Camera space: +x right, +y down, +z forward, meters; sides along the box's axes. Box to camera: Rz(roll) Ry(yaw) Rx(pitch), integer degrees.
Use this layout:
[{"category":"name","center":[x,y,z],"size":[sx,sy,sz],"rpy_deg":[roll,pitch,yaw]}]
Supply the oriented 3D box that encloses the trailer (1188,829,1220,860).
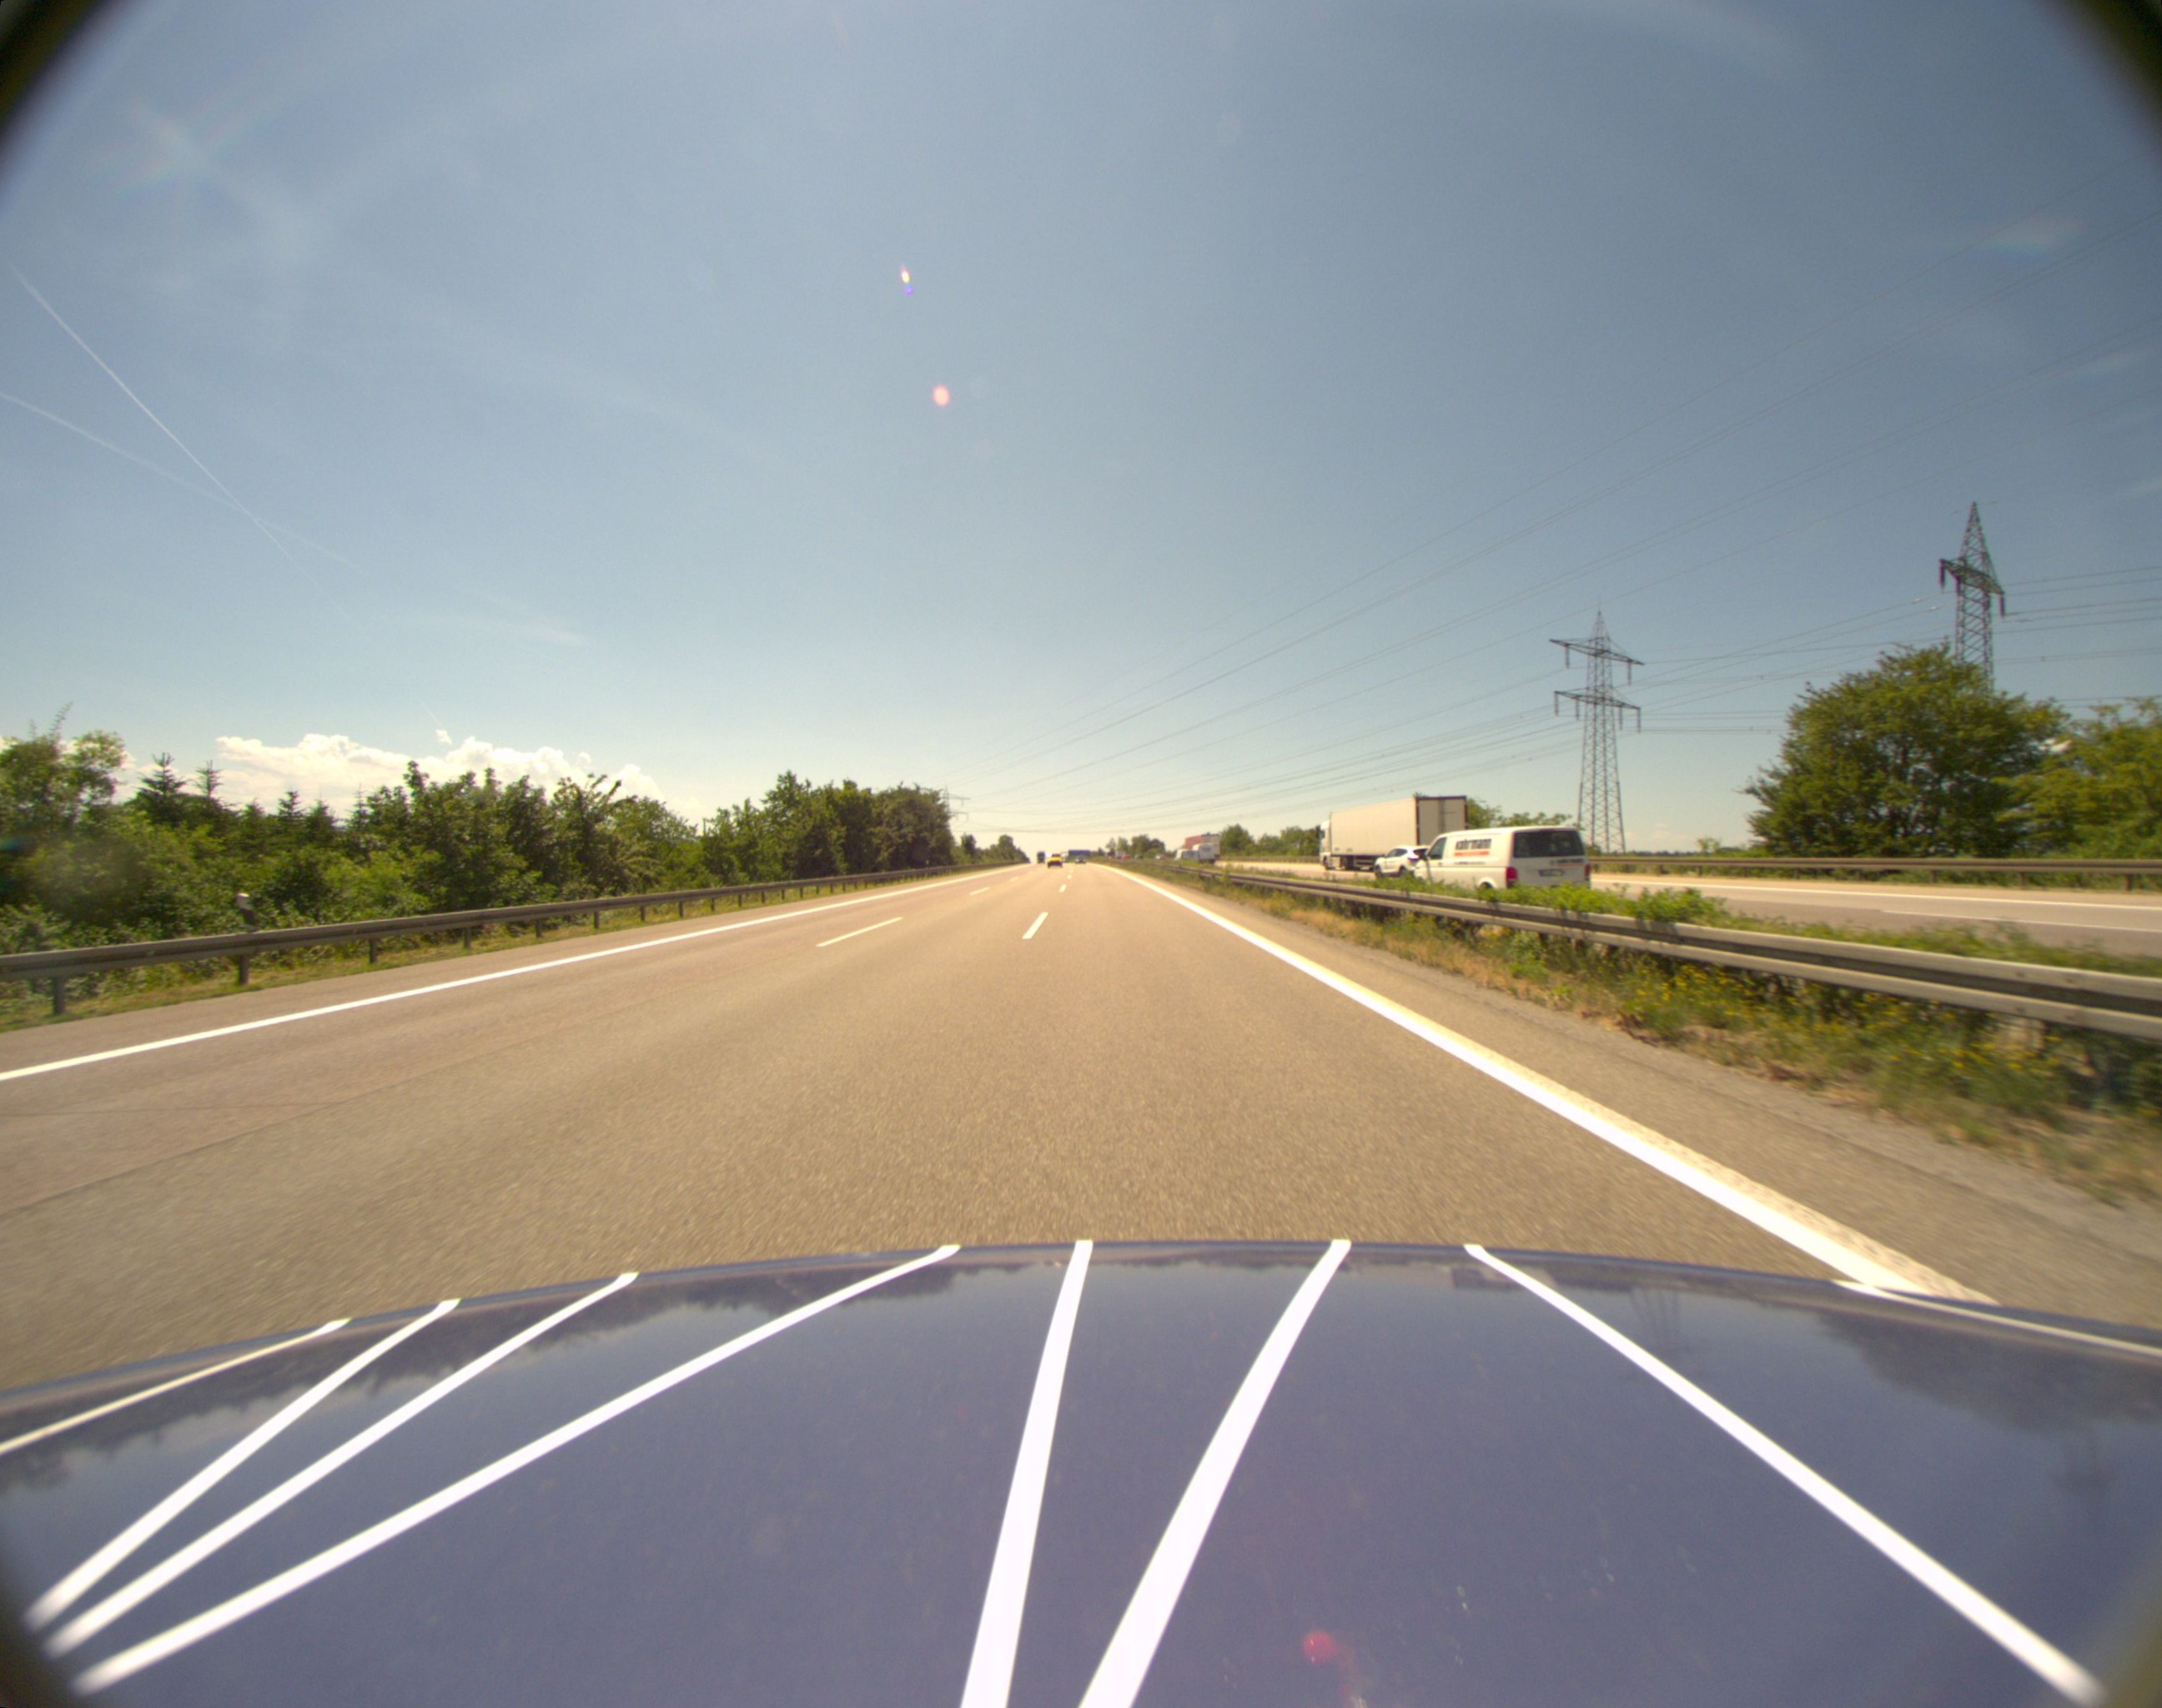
[{"category":"trailer","center":[18.025,-1.257,112.216],"size":[2.513,4.018,13.588],"rpy_deg":[-2,-1,1]}]

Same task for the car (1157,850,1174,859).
[{"category":"car","center":[13.210,0.063,118.627],"size":[1.999,1.319,4.772],"rpy_deg":[-2,-1,-1]}]

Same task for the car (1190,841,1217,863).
[{"category":"car","center":[14.318,-0.266,89.252],"size":[1.999,2.456,6.489],"rpy_deg":[-2,0,-1]}]

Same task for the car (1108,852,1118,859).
[{"category":"car","center":[7.533,0.357,179.208],"size":[1.909,1.471,3.959],"rpy_deg":[-1,0,-2]}]

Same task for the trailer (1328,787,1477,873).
[{"category":"trailer","center":[18.235,-1.219,44.656],"size":[2.842,4.233,13.636],"rpy_deg":[-2,0,0]}]

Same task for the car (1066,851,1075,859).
[{"category":"car","center":[-3.630,0.227,254.980],"size":[2.687,2.509,5.966],"rpy_deg":[0,-1,-3]}]

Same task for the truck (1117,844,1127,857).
[{"category":"truck","center":[12.914,-1.102,239.675],"size":[2.460,3.952,9.670],"rpy_deg":[1,-1,-2]}]

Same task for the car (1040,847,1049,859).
[{"category":"car","center":[-11.806,-0.156,245.485],"size":[2.687,3.723,6.270],"rpy_deg":[0,-1,-3]}]

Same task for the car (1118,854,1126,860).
[{"category":"car","center":[11.455,0.767,212.580],"size":[1.999,1.608,4.411],"rpy_deg":[-2,-1,-2]}]

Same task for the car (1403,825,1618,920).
[{"category":"car","center":[9.925,0.365,18.278],"size":[1.998,1.871,5.722],"rpy_deg":[-2,0,1]}]

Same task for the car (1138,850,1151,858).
[{"category":"car","center":[13.508,-0.017,161.728],"size":[1.999,1.663,4.929],"rpy_deg":[-1,0,-2]}]

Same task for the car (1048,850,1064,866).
[{"category":"car","center":[-3.237,0.556,99.213],"size":[1.956,2.001,5.432],"rpy_deg":[0,-1,-3]}]

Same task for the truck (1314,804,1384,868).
[{"category":"truck","center":[18.233,-1.166,52.080],"size":[2.838,4.057,5.165],"rpy_deg":[-2,0,0]}]

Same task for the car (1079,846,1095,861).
[{"category":"car","center":[1.041,-0.086,140.117],"size":[2.687,2.509,5.966],"rpy_deg":[0,-1,-3]}]

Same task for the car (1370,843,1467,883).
[{"category":"car","center":[14.187,0.343,32.283],"size":[1.998,1.539,4.726],"rpy_deg":[-2,0,0]}]

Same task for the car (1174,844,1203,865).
[{"category":"car","center":[10.352,0.083,73.619],"size":[1.999,1.928,5.338],"rpy_deg":[-2,-1,-1]}]
